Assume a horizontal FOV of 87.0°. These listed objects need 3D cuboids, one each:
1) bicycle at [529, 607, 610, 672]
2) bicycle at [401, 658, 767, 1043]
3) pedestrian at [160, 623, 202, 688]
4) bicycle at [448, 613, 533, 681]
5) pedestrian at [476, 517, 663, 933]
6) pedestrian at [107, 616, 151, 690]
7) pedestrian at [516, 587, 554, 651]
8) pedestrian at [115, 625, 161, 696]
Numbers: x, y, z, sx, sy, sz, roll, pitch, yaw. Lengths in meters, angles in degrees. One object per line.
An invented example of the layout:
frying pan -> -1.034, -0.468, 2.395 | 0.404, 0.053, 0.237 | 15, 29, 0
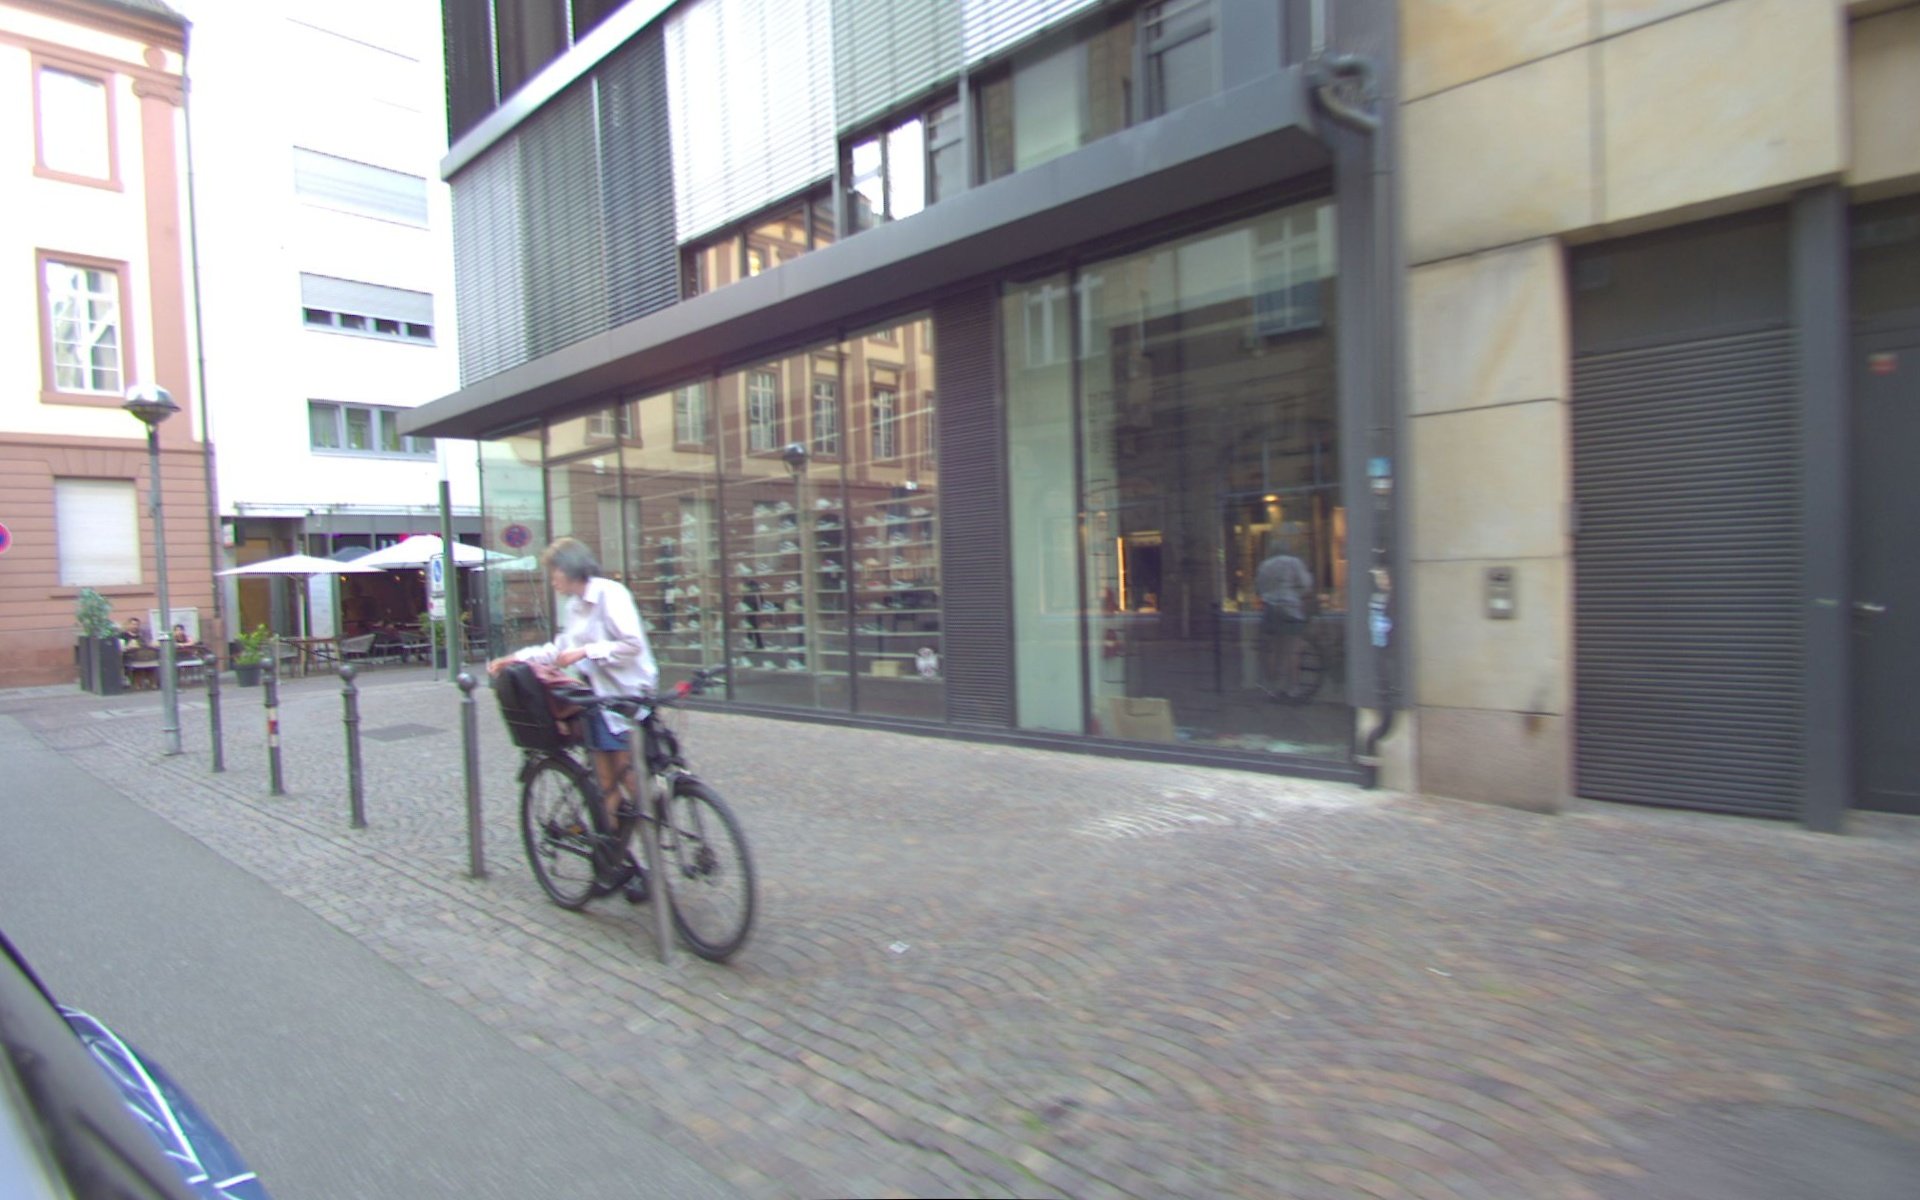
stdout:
bicycle -> -7.423, 0.758, 19.205 | 1.841, 1.159, 0.601 | -4, 0, 42
bicycle -> -1.614, 0.864, 4.131 | 1.915, 1.162, 0.527 | -1, 3, 43
pedestrian -> -15.217, 1.077, 19.777 | 0.524, 1.220, 0.541 | -2, 1, 44
bicycle -> -8.316, 0.833, 17.893 | 1.673, 1.121, 0.700 | -4, 0, 42
pedestrian -> -1.770, 0.517, 4.697 | 0.582, 1.731, 0.772 | -4, 2, -12
pedestrian -> -15.896, 0.995, 19.359 | 0.489, 1.359, 0.541 | -2, 1, 44
pedestrian -> -11.514, 0.499, 27.416 | 0.619, 1.678, 0.667 | -2, 1, 15
pedestrian -> -14.847, 1.087, 18.278 | 0.461, 1.220, 0.554 | -2, 1, 44
